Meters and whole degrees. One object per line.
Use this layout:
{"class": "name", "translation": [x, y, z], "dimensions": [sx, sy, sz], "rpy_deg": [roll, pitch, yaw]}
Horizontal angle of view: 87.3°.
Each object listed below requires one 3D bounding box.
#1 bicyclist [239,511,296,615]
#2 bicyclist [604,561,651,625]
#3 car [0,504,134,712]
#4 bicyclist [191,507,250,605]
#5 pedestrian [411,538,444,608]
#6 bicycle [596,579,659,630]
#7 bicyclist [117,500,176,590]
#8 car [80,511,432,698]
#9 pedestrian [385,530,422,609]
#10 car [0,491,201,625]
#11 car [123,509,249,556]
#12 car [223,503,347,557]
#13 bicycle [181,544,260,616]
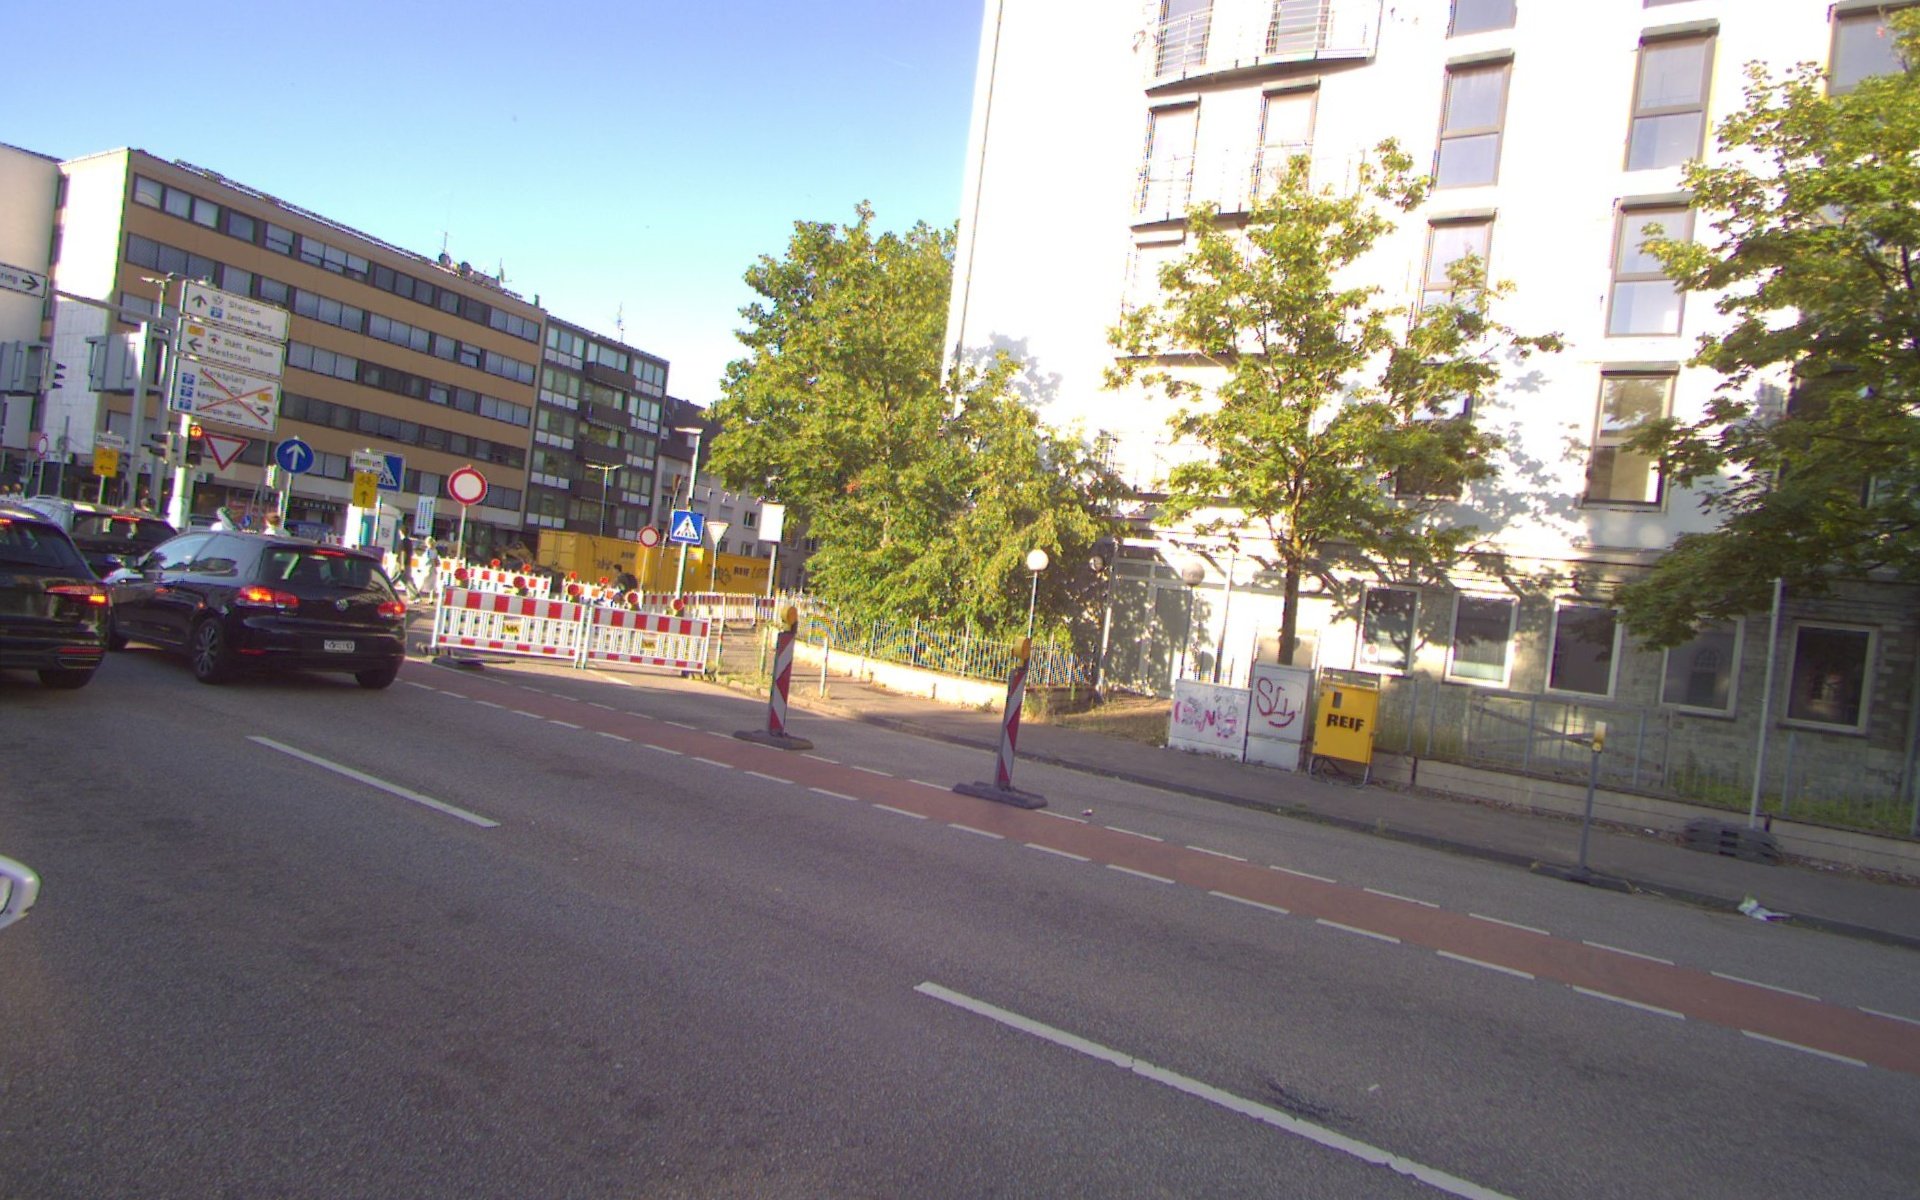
{"class": "bicyclist", "translation": [-10.772, -0.572, 15.657], "dimensions": [0.474, 1.544, 0.441], "rpy_deg": [7, 1, 31]}
{"class": "bicyclist", "translation": [-8.968, -0.190, 27.162], "dimensions": [0.611, 1.608, 0.810], "rpy_deg": [8, 0, 44]}
{"class": "car", "translation": [-8.569, -0.160, 8.037], "dimensions": [4.144, 1.437, 1.685], "rpy_deg": [7, -2, 32]}
{"class": "bicyclist", "translation": [-12.462, -0.742, 16.947], "dimensions": [0.713, 1.544, 0.441], "rpy_deg": [7, 1, 32]}
{"class": "pedestrian", "translation": [-13.394, -0.682, 25.313], "dimensions": [0.447, 1.691, 0.601], "rpy_deg": [7, 1, -17]}
{"class": "bicycle", "translation": [-8.954, 0.141, 27.165], "dimensions": [0.368, 1.174, 1.493], "rpy_deg": [8, -1, 42]}
{"class": "bicyclist", "translation": [-14.915, -1.005, 18.447], "dimensions": [0.713, 1.544, 0.514], "rpy_deg": [7, 1, 32]}
{"class": "car", "translation": [-7.579, 0.021, 10.765], "dimensions": [3.683, 1.466, 1.637], "rpy_deg": [7, -2, 32]}
{"class": "pedestrian", "translation": [-13.596, -0.740, 24.599], "dimensions": [0.480, 1.857, 0.570], "rpy_deg": [7, 1, -14]}
{"class": "car", "translation": [-12.135, -0.615, 13.857], "dimensions": [3.250, 1.467, 1.507], "rpy_deg": [7, 0, 32]}
{"class": "car", "translation": [-31.599, -2.737, 41.164], "dimensions": [1.666, 1.405, 3.683], "rpy_deg": [7, 0, 24]}
{"class": "car", "translation": [-31.022, -3.178, 46.382], "dimensions": [1.964, 1.839, 4.228], "rpy_deg": [7, 0, 23]}
{"class": "bicycle", "translation": [-12.444, -0.348, 16.903], "dimensions": [1.825, 1.020, 0.337], "rpy_deg": [7, 0, 32]}
